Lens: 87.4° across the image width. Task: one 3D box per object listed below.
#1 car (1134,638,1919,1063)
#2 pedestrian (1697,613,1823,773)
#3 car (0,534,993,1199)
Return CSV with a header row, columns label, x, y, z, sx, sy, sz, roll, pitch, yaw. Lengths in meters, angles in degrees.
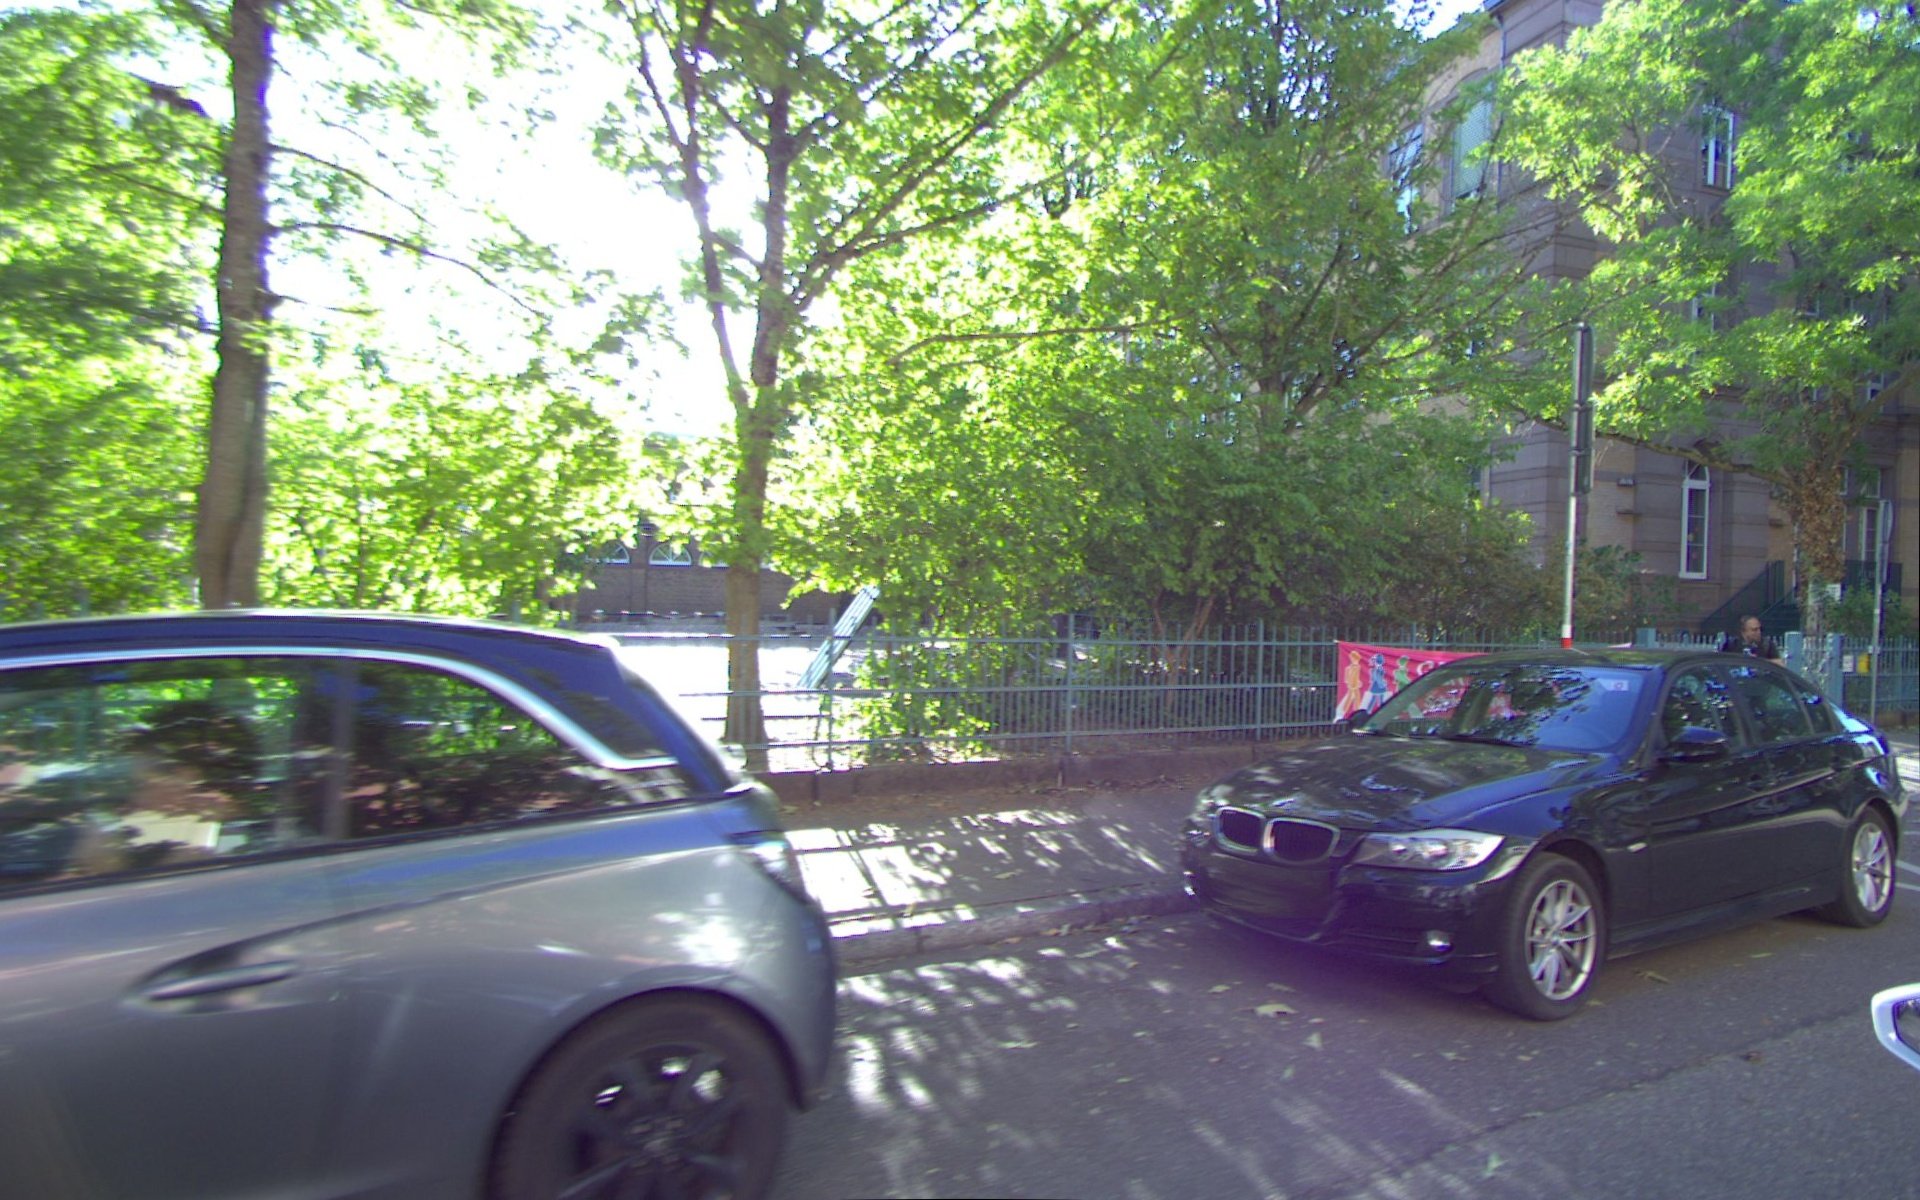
label,x,y,z,sx,sy,sz,roll,pitch,yaw
car,3.326,0.951,5.281,4.721,1.413,1.707,2,-4,-29
pedestrian,8.477,0.952,10.660,0.522,1.598,0.878,1,0,-26
car,-2.113,0.728,2.263,4.097,1.593,1.671,1,-3,-27
